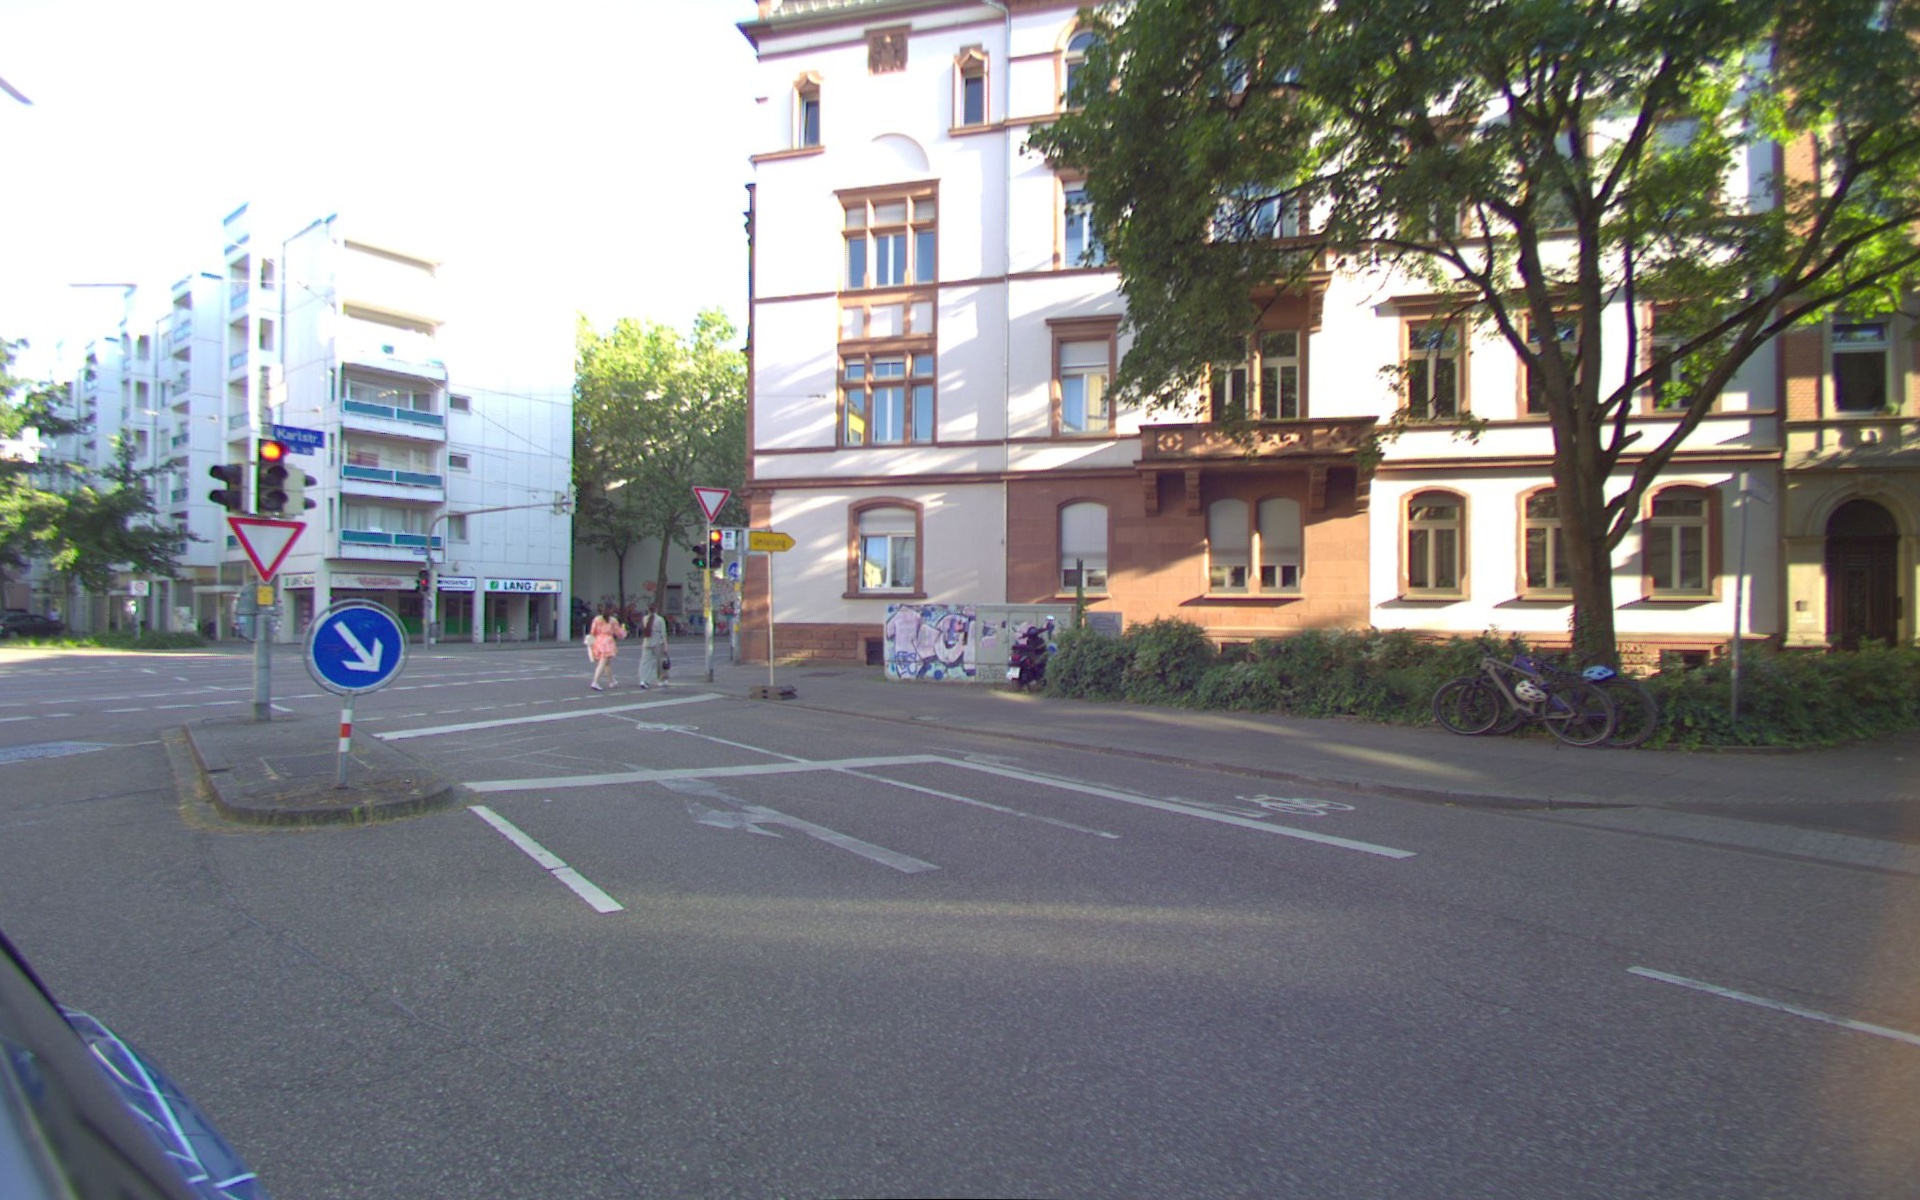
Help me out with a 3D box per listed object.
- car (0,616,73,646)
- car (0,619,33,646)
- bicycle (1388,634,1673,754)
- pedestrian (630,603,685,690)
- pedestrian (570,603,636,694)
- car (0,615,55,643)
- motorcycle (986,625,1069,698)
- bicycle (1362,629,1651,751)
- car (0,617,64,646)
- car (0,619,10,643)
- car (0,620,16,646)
[{"bbox_3d":[-51.344,1.685,55.245,1.992,1.597,3.959,0,-2,30],"label":"car"},{"bbox_3d":[-57.422,1.897,59.236,1.992,1.597,4.260,0,-2,30],"label":"car"},{"bbox_3d":[6.557,1.024,11.893,0.539,1.205,2.966,1,-2,-35],"label":"bicycle"},{"bbox_3d":[-6.112,0.926,20.458,0.854,1.710,0.987,1,-2,-29],"label":"pedestrian"},{"bbox_3d":[-6.884,0.919,19.559,0.858,1.710,0.983,0,-2,5],"label":"pedestrian"},{"bbox_3d":[-55.219,1.659,58.214,1.992,1.597,4.260,0,-2,30],"label":"car"},{"bbox_3d":[1.277,1.098,18.735,0.838,1.275,2.092,0,-2,25],"label":"motorcycle"},{"bbox_3d":[6.085,0.945,11.550,0.539,1.205,2.966,1,-2,-35],"label":"bicycle"},{"bbox_3d":[-53.211,1.733,56.579,1.992,1.597,4.260,0,-2,30],"label":"car"},{"bbox_3d":[-64.558,2.015,65.385,1.993,1.597,4.258,-1,-2,32],"label":"car"},{"bbox_3d":[-62.076,2.055,63.165,1.993,1.597,4.258,-1,-2,32],"label":"car"}]
